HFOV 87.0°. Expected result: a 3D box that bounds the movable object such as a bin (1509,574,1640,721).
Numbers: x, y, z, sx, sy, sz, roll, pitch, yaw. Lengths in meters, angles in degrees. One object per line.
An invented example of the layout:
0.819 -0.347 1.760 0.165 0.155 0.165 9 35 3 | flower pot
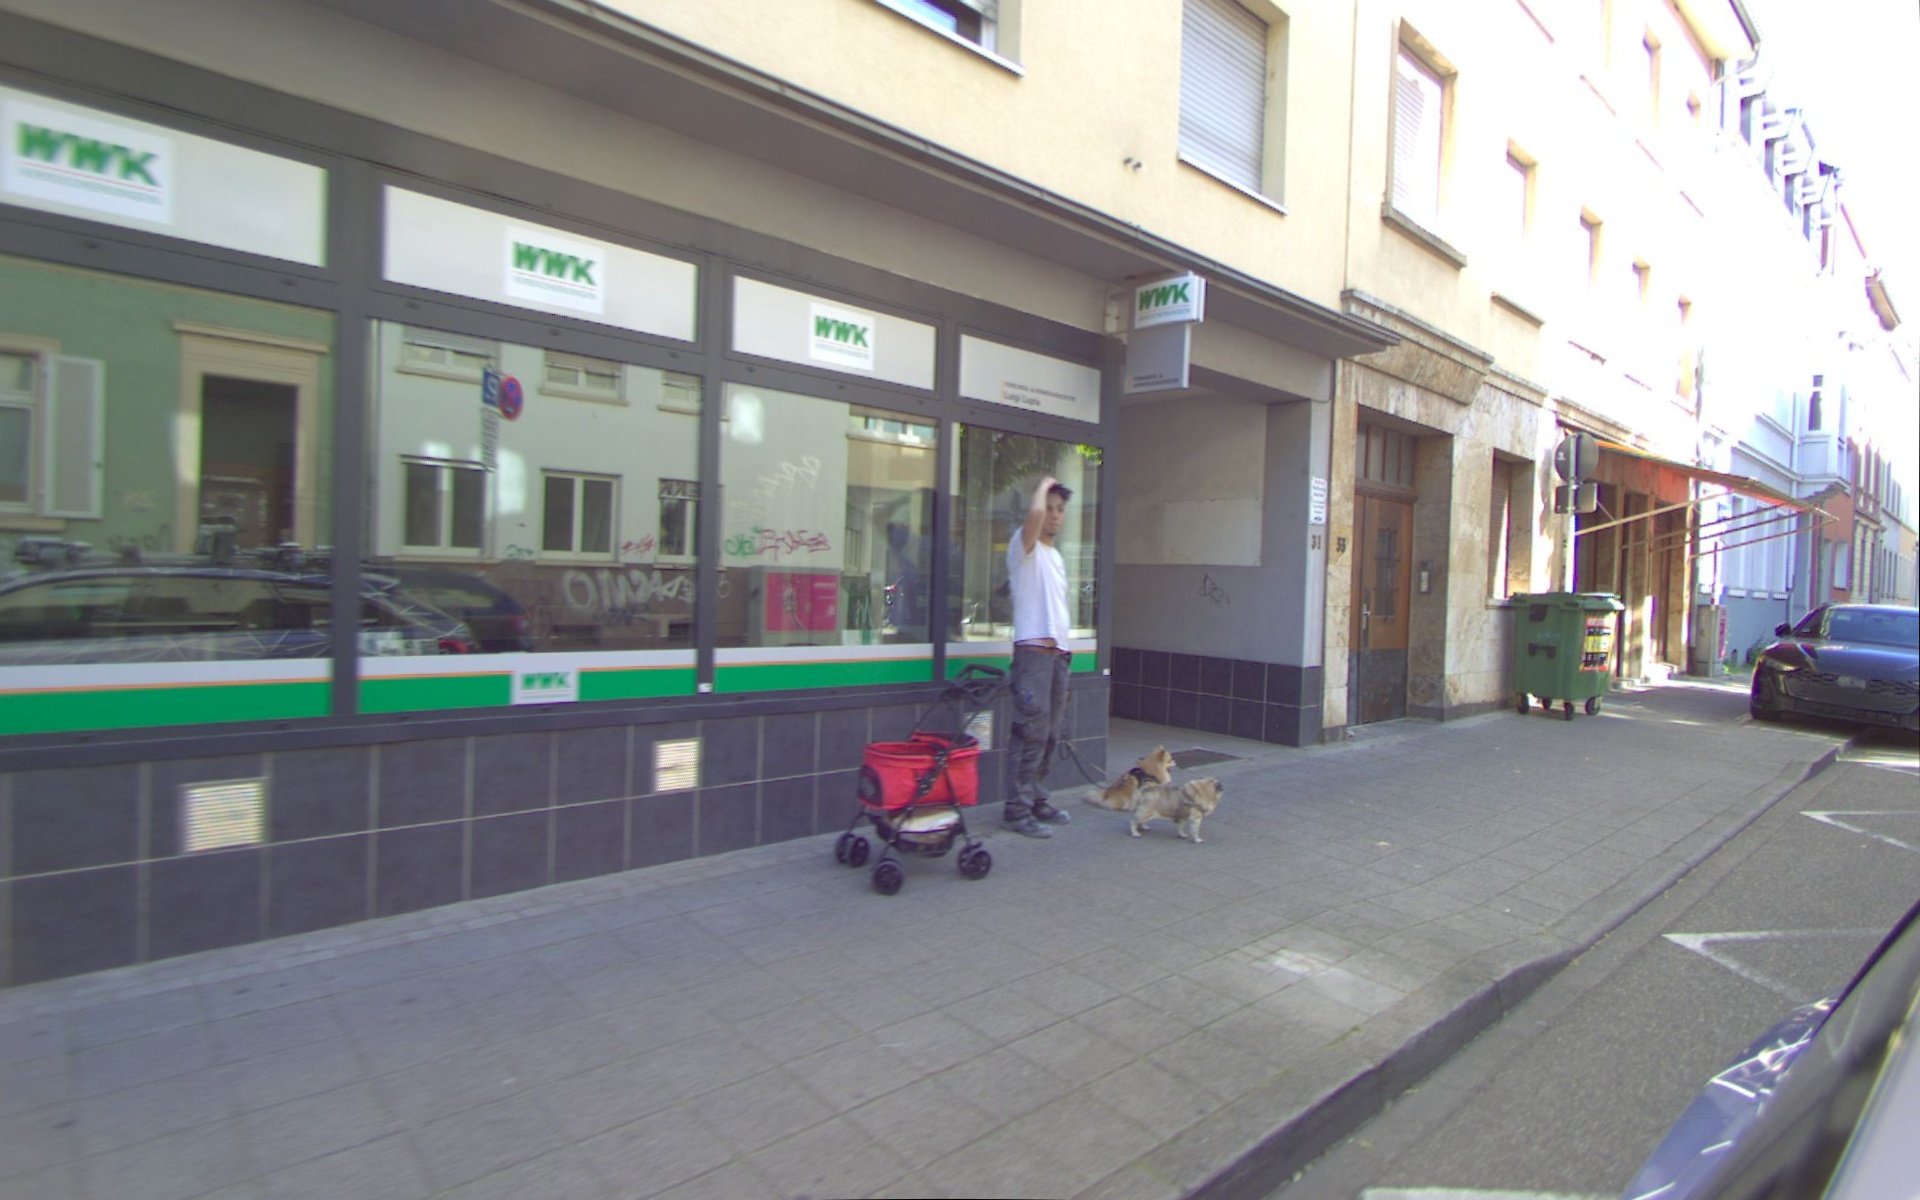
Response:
6.720 0.480 11.054 1.348 1.453 0.748 0 4 -41 | movable object such as a bin

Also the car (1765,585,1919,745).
11.277 0.654 12.135 4.814 1.599 1.803 0 1 -43 | car

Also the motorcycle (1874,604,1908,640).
29.955 0.694 32.551 2.325 1.057 0.637 -1 2 -44 | motorcycle

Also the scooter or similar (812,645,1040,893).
-0.149 0.704 4.543 0.851 0.956 0.492 2 2 -36 | scooter or similar

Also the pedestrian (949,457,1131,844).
0.441 0.226 5.400 0.644 1.882 0.742 4 2 26 | pedestrian
